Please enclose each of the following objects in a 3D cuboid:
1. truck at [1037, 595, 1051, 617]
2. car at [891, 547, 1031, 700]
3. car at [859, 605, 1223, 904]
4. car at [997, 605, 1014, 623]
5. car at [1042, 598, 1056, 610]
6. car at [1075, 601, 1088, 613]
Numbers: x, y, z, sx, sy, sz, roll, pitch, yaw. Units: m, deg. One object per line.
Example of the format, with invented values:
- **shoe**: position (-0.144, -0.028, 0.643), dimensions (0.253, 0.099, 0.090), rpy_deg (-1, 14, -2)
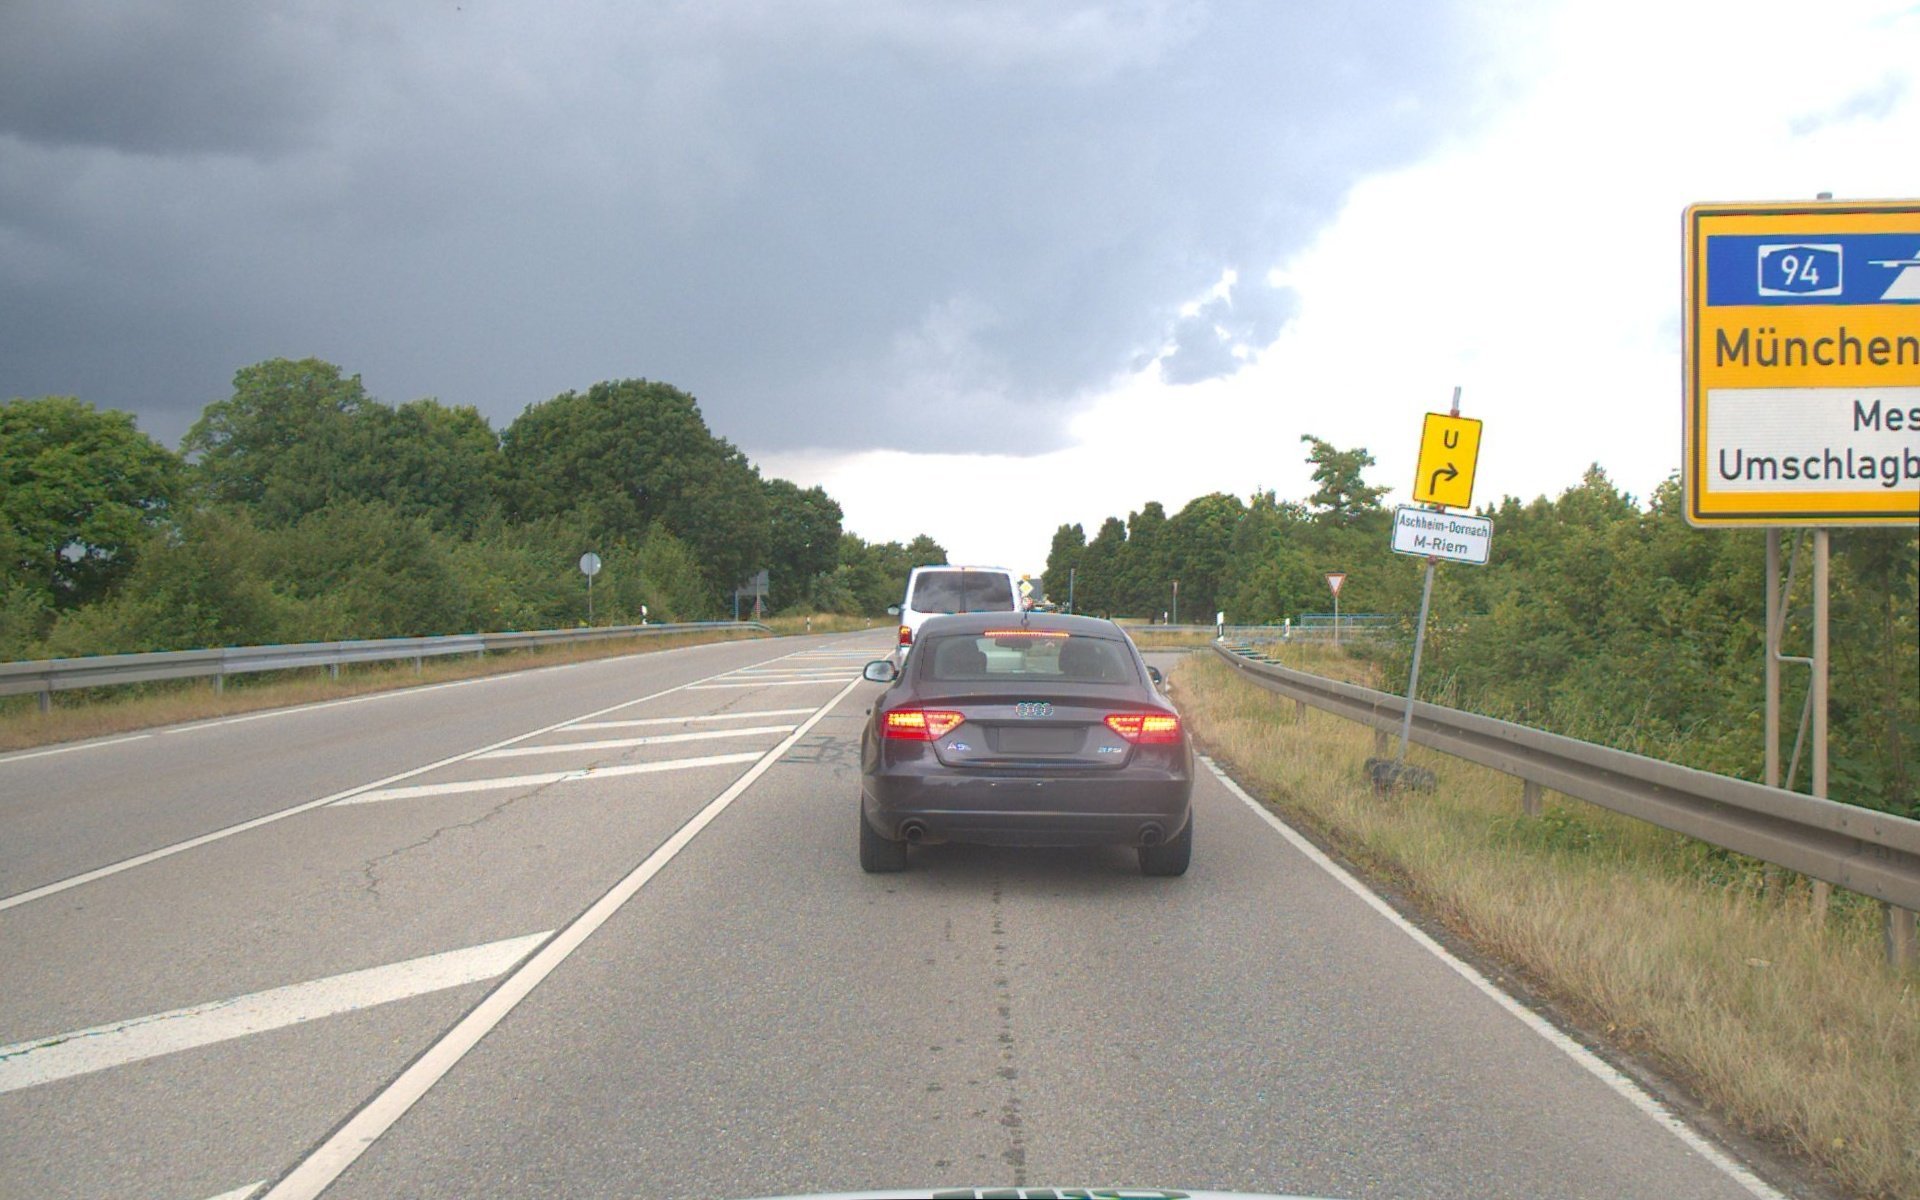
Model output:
- **truck**: position (11.882, 0.819, 234.349), dimensions (1.952, 2.969, 5.795), rpy_deg (1, 0, 2)
- **car**: position (-0.014, 0.310, 24.539), dimensions (1.871, 2.049, 3.999), rpy_deg (1, 0, -1)
- **car**: position (0.361, 0.751, 9.639), dimensions (1.743, 1.423, 3.335), rpy_deg (1, 0, -1)
- **car**: position (5.367, 1.644, 196.090), dimensions (1.952, 2.049, 4.001), rpy_deg (1, 0, 1)
- **car**: position (13.564, 0.567, 252.548), dimensions (1.952, 1.722, 4.001), rpy_deg (1, 0, 2)
- **car**: position (18.004, 1.032, 245.300), dimensions (1.836, 1.722, 4.002), rpy_deg (1, 0, 5)
